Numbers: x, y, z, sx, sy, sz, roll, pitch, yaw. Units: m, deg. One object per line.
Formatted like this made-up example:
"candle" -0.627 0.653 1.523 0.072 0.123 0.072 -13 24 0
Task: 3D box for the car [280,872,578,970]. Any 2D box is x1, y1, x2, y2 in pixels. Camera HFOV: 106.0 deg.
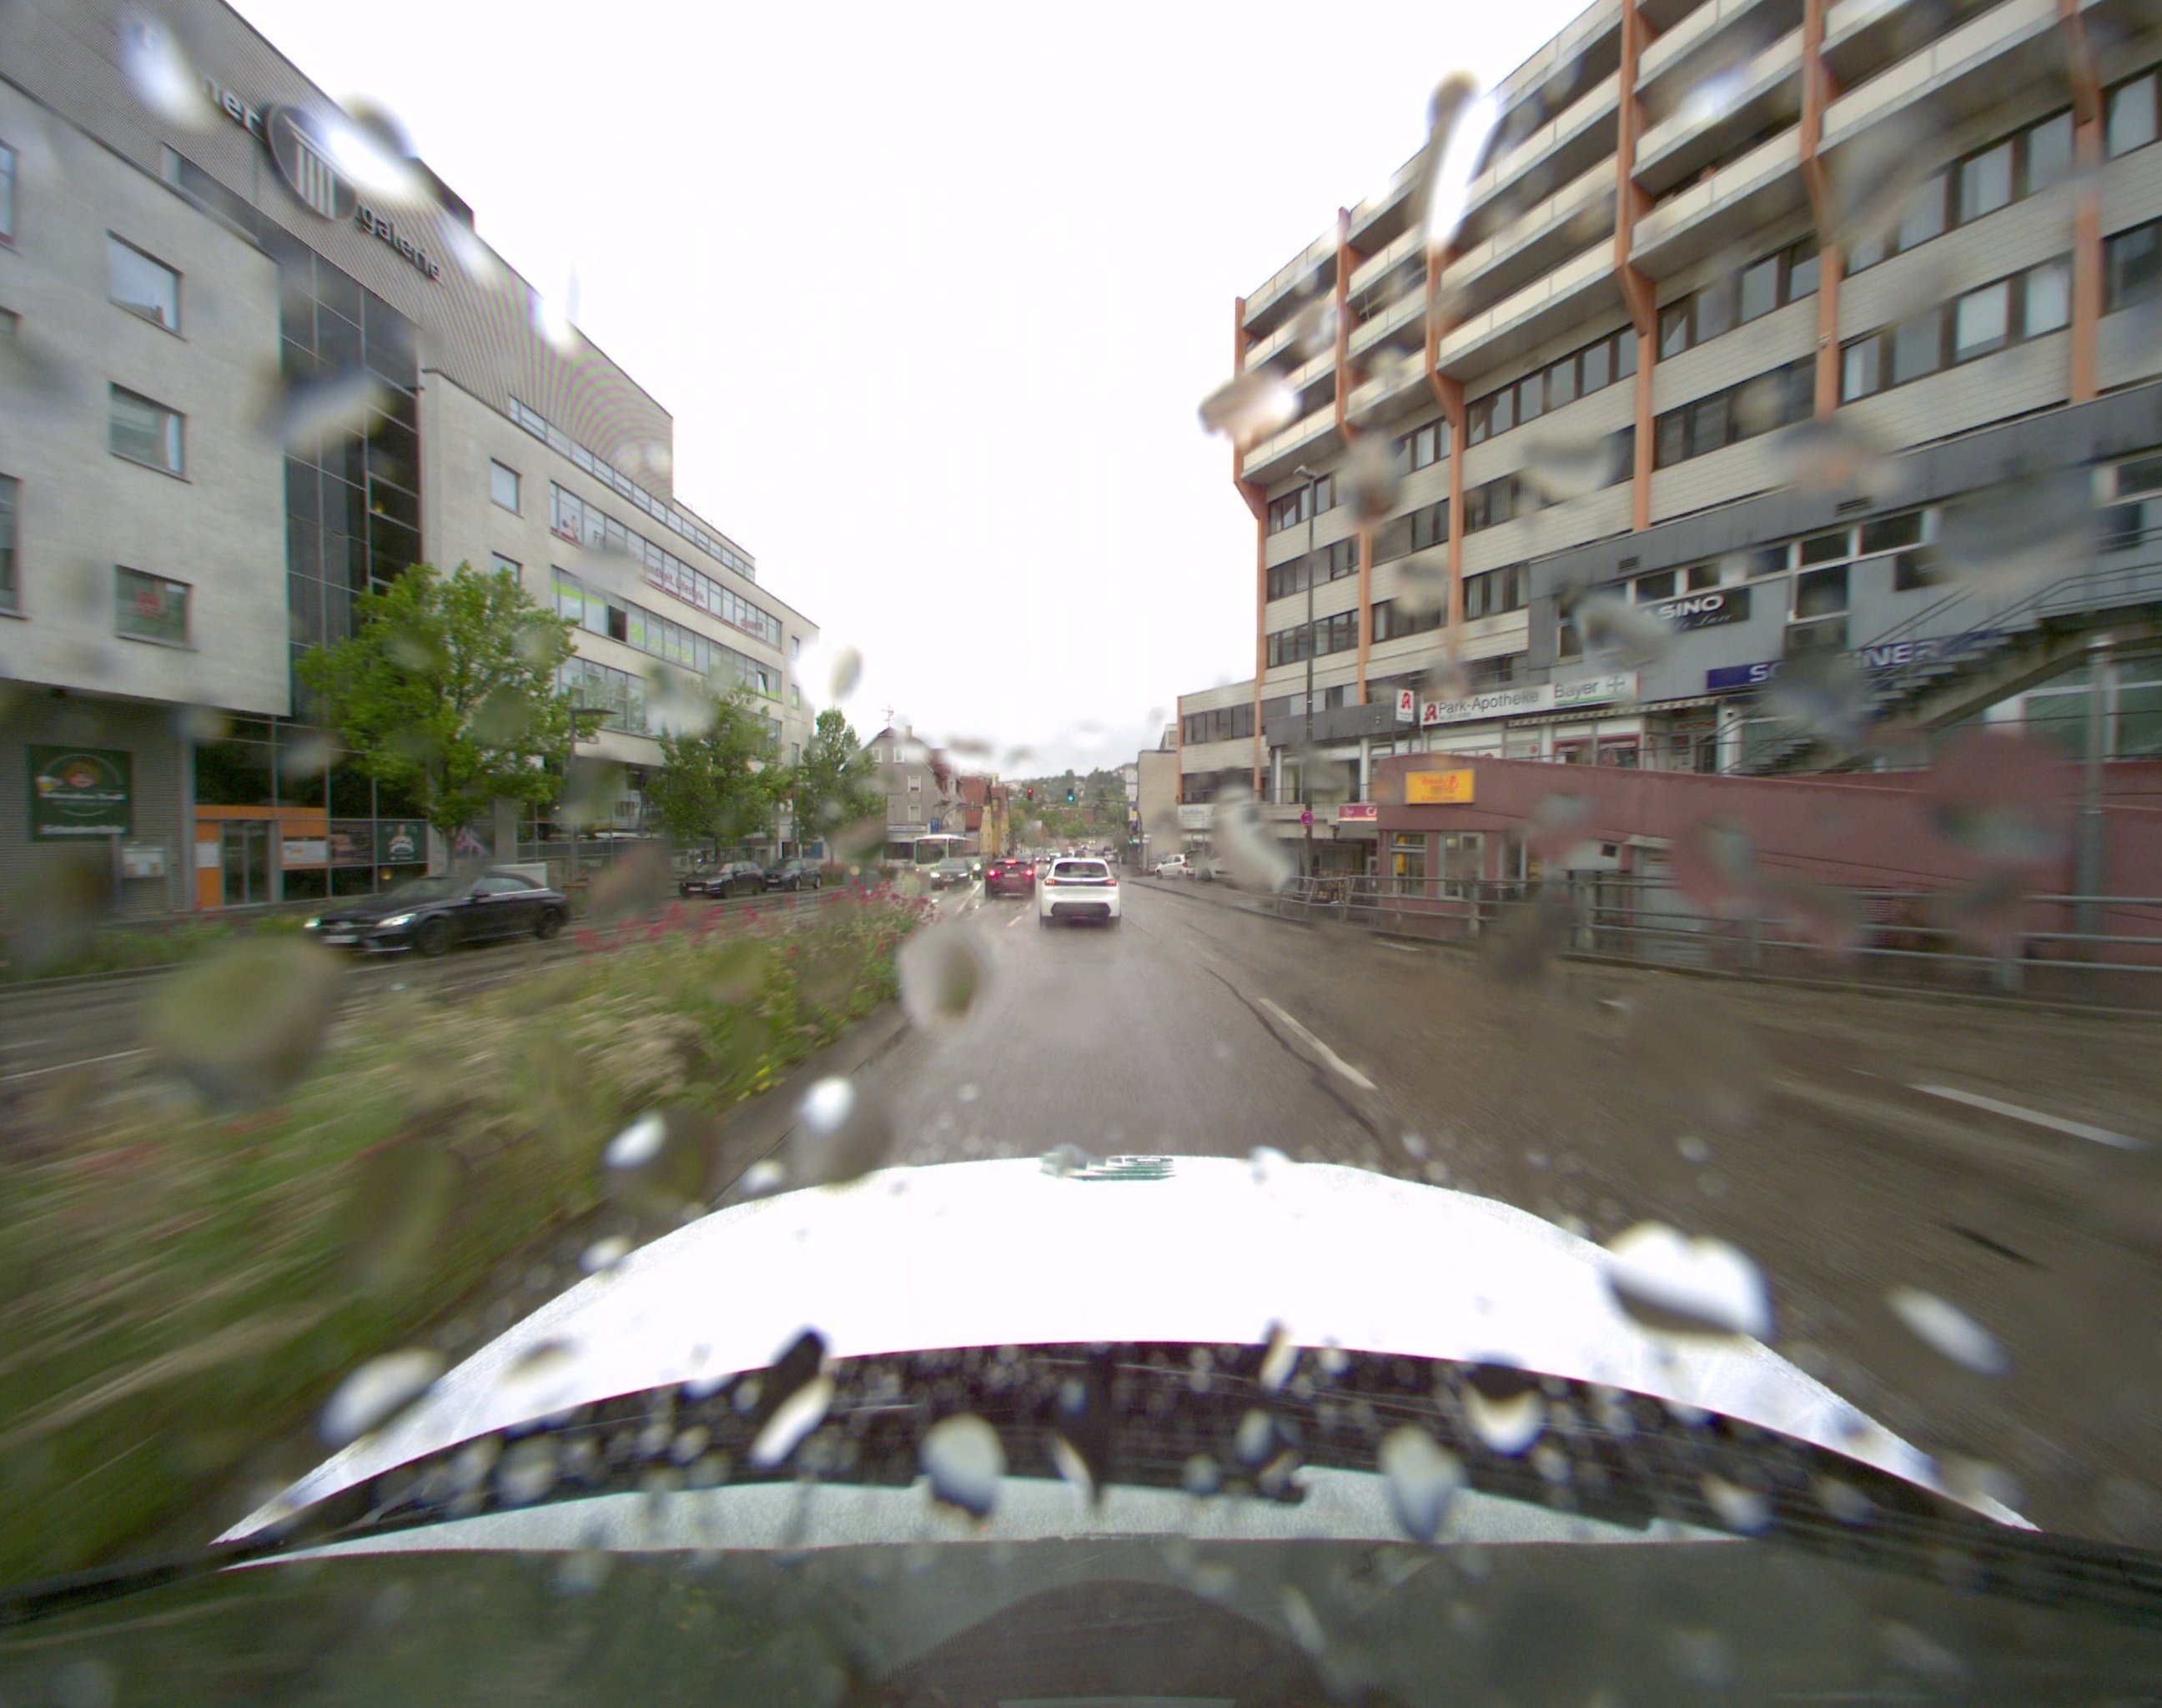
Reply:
"car" -11.657 1.107 15.076 1.719 1.388 4.601 -1 0 1

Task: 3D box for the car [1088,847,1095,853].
"car" 2.528 -1.030 199.256 1.740 1.555 4.001 -1 1 1

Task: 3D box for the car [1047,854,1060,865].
"car" -4.120 0.761 122.591 1.740 1.555 4.001 -1 1 1

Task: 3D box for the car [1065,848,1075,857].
"car" -2.116 -0.318 160.809 1.779 1.683 4.004 1 1 3

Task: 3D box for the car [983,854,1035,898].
"car" -2.695 0.769 30.373 1.813 1.530 3.804 0 0 -6

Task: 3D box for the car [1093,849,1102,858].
"car" 3.072 -0.046 152.826 1.740 1.555 4.001 -1 1 1

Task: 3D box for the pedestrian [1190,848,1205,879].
"pedestrian" 6.829 0.569 47.931 0.644 1.822 0.577 -1 0 -31

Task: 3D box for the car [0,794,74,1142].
"car" -6.685 0.622 2.417 1.987 1.823 4.298 -1 0 0

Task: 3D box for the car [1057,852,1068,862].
"car" -3.090 0.491 138.473 1.740 1.555 4.001 -1 1 1

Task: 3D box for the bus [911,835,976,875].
"bus" -10.250 0.009 61.796 2.927 2.783 9.510 -1 1 2

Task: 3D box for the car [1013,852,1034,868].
"car" -5.904 0.574 83.851 1.740 1.555 4.001 -1 1 1

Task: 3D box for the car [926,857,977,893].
"car" -6.203 0.975 39.427 1.887 1.555 3.998 -1 1 -1

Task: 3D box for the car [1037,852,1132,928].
"car" -0.029 0.731 18.239 1.868 1.462 3.868 2 0 -3

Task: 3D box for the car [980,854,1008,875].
"car" -6.982 0.836 65.772 1.809 1.555 3.999 -1 1 0

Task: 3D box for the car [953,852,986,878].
"car" -7.247 0.660 53.320 1.811 1.555 3.995 -1 1 -3

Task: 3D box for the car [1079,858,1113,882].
"car" 0.923 0.973 51.983 1.907 1.400 3.454 1 1 -4

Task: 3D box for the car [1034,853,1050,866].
"car" -5.096 0.736 106.928 1.740 1.555 4.001 -1 1 1

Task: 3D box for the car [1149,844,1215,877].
"car" 6.089 0.362 49.486 1.897 1.878 4.096 -1 1 -30

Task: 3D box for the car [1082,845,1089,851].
"car" 1.193 -1.531 216.393 1.740 1.555 4.001 -1 1 1

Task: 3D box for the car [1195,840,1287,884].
"car" 8.615 0.384 44.270 2.008 2.226 4.924 -1 1 -34
